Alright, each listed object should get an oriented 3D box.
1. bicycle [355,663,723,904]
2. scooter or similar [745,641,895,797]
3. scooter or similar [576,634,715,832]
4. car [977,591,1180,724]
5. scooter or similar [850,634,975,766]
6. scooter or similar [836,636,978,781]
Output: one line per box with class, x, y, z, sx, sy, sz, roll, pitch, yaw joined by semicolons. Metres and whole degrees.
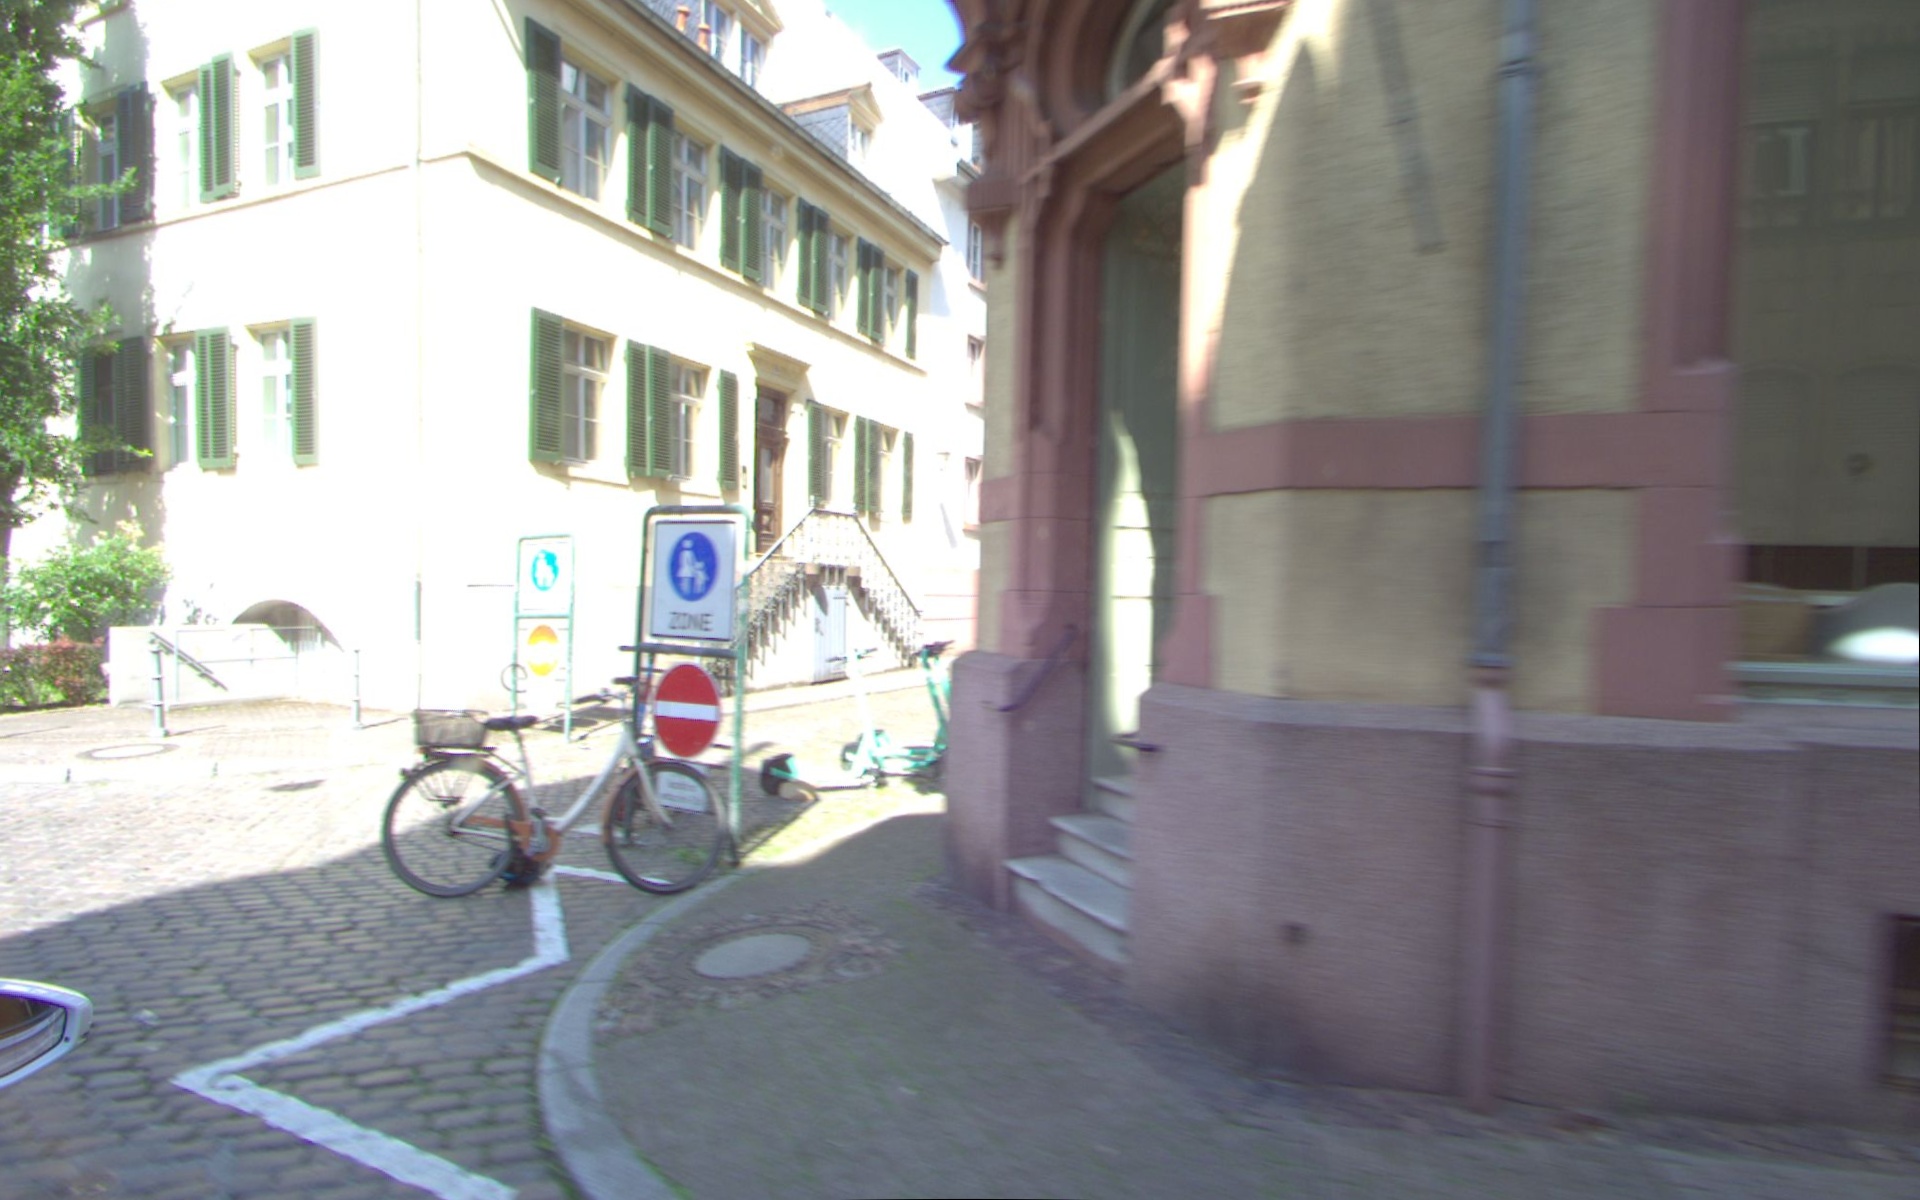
bicycle;-2.198;0.944;5.417;1.760;1.162;0.505;0;2;-11
scooter or similar;-1.163;0.965;8.336;1.171;1.225;0.341;1;2;-21
scooter or similar;-2.242;0.905;7.253;0.434;1.252;1.189;1;1;12
car;1.907;0.726;14.900;1.966;1.664;3.989;1;0;23
scooter or similar;-0.455;0.959;9.740;1.167;1.226;0.342;1;2;0
scooter or similar;-0.471;0.963;9.075;1.211;1.226;0.413;1;2;6
